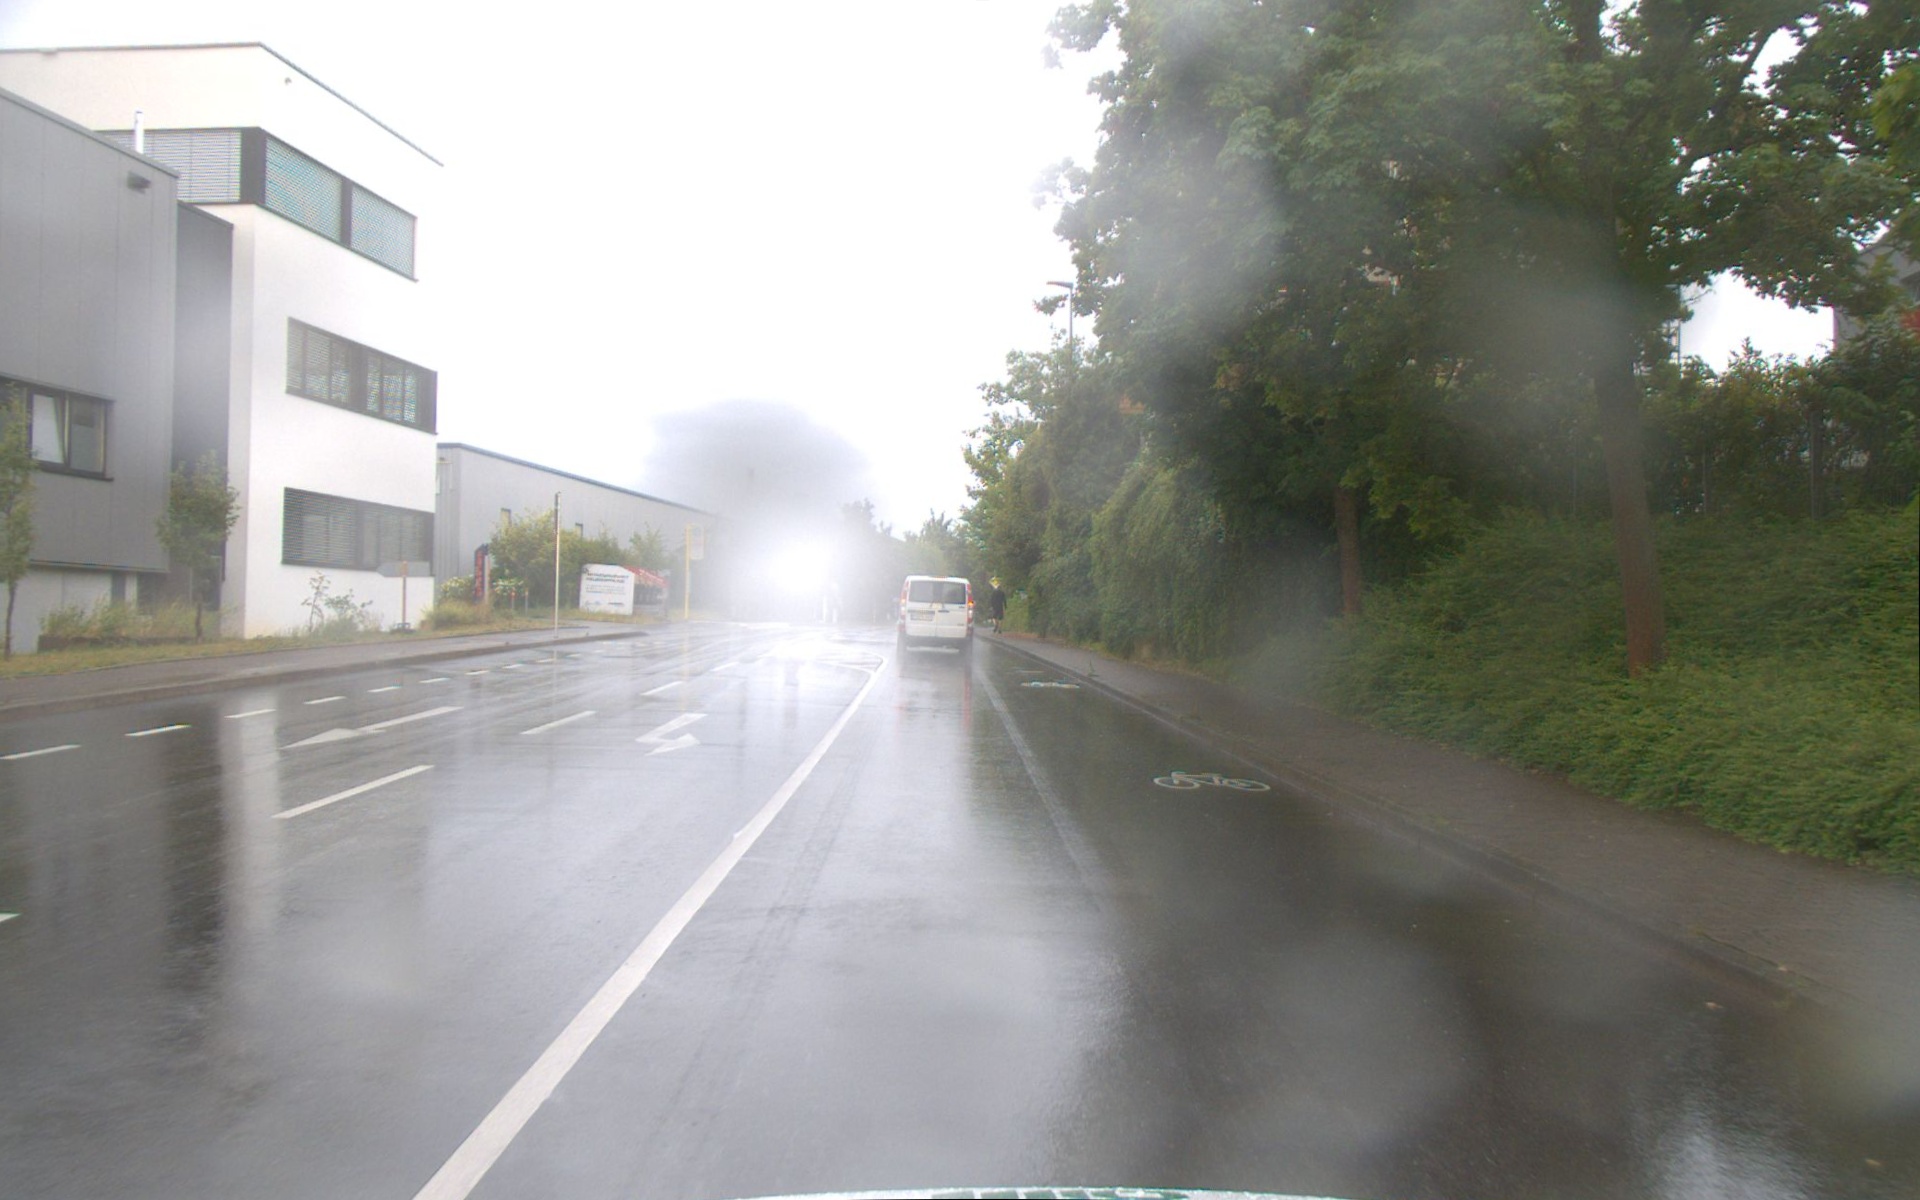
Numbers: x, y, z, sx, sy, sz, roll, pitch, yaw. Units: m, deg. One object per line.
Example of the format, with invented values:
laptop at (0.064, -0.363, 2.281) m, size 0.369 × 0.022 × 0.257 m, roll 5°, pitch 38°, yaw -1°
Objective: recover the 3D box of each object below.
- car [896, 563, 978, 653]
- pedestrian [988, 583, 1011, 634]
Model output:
car at (-0.571, 0.184, 41.479) m, size 1.860 × 2.053 × 5.372 m, roll -2°, pitch 0°, yaw -1°
pedestrian at (1.516, 0.339, 63.764) m, size 0.761 × 1.940 × 0.728 m, roll -2°, pitch -1°, yaw -2°
